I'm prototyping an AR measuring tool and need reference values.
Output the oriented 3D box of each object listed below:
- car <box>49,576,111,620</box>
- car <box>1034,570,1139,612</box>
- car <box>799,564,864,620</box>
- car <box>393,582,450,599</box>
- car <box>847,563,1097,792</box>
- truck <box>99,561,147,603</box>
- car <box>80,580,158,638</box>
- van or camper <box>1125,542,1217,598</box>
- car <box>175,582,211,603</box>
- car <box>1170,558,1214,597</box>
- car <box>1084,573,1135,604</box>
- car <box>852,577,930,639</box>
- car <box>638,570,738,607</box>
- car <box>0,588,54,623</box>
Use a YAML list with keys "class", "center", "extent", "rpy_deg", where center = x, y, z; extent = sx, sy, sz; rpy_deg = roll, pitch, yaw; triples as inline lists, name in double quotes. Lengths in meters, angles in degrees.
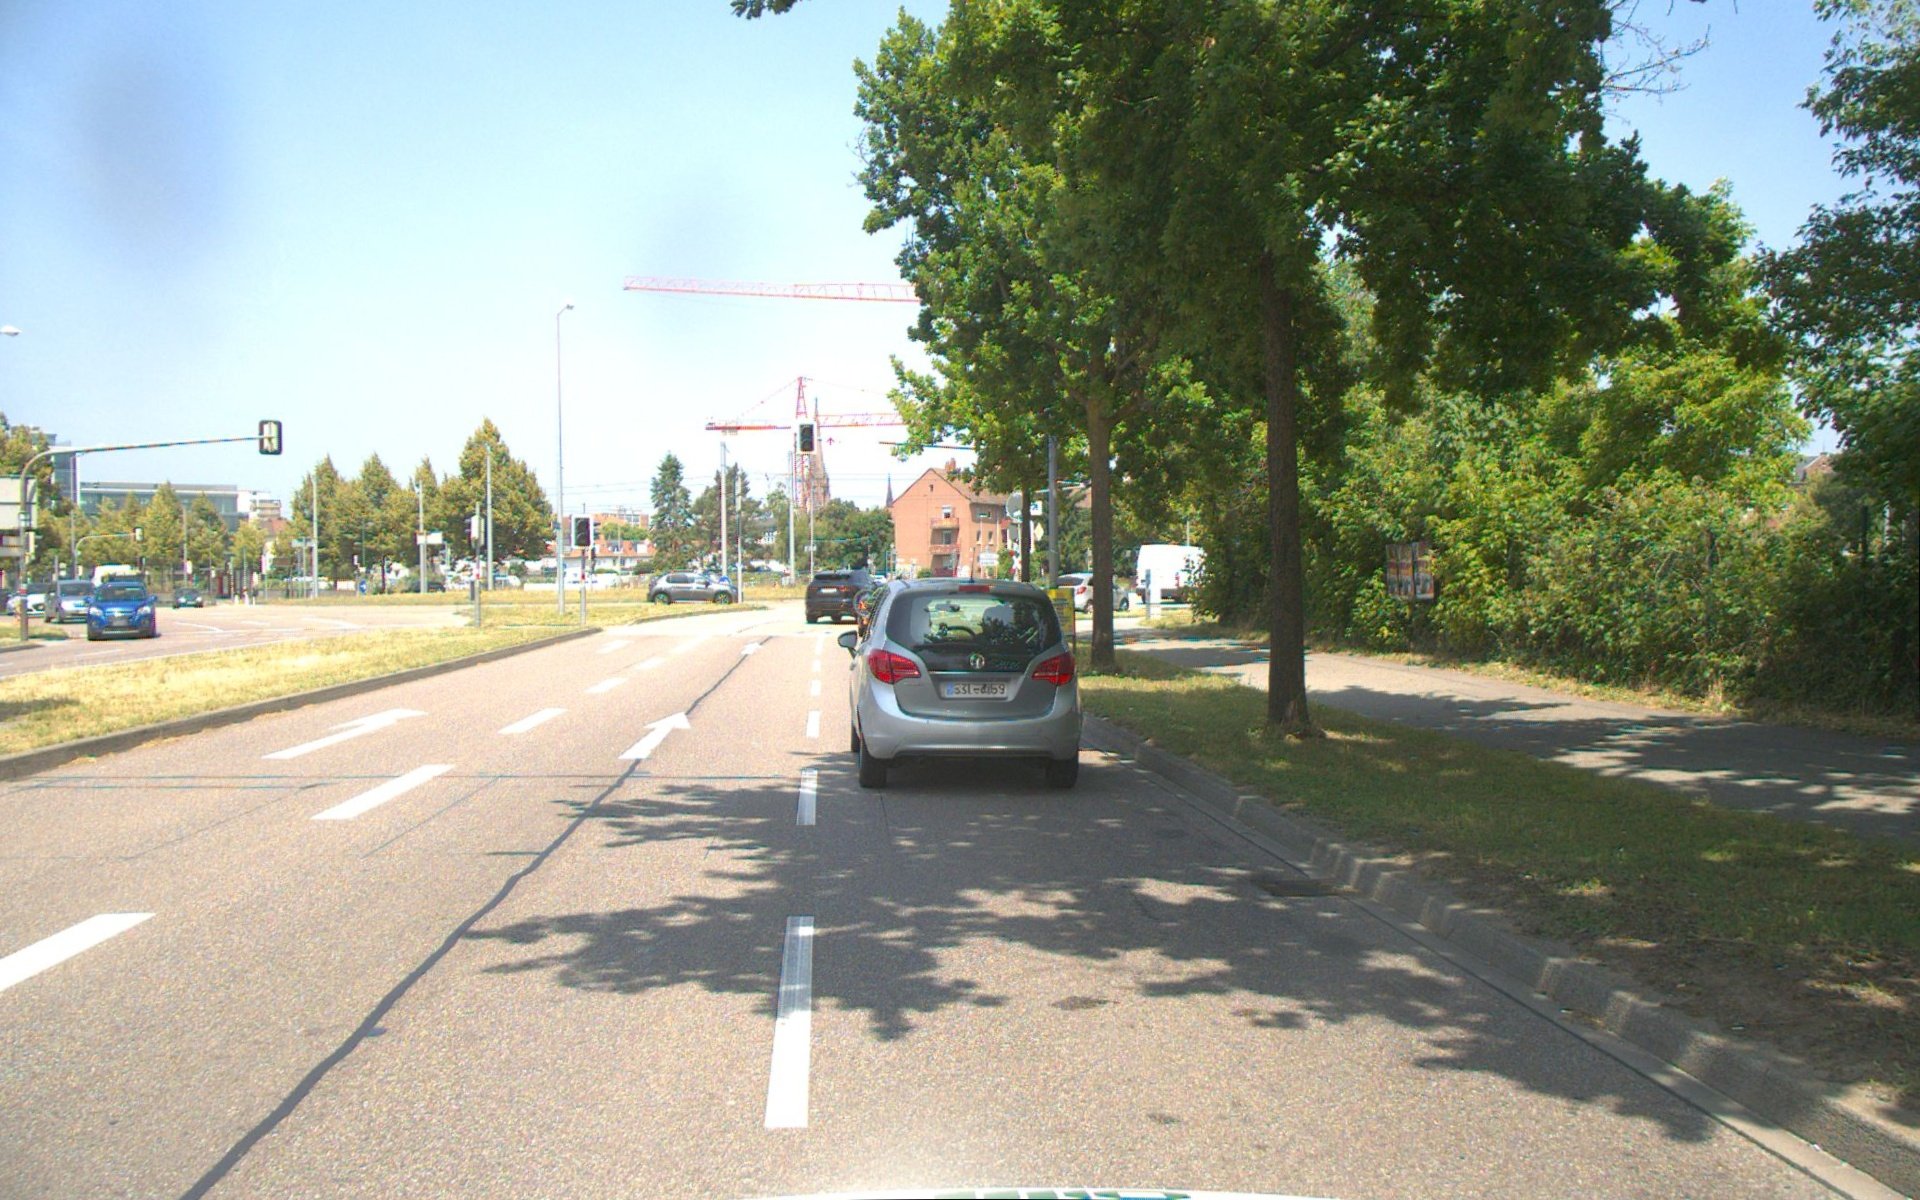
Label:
- class: "car"
  center: [-33.900, -0.086, 63.669]
  extent: [1.972, 1.624, 3.960]
  rpy_deg: [-1, 1, -30]
- class: "car"
  center: [4.666, -0.358, 60.607]
  extent: [1.914, 1.467, 3.980]
  rpy_deg: [0, 1, 39]
- class: "car"
  center: [-4.072, -0.282, 52.986]
  extent: [1.958, 1.719, 4.031]
  rpy_deg: [0, 1, -3]
- class: "car"
  center: [-42.936, -0.777, 131.795]
  extent: [3.904, 1.310, 2.001]
  rpy_deg: [-1, 1, 20]
- class: "car"
  center: [-0.042, 0.530, 13.916]
  extent: [1.757, 1.640, 3.887]
  rpy_deg: [0, 1, -5]
- class: "truck"
  center: [-55.059, -1.186, 108.759]
  extent: [2.331, 2.640, 6.345]
  rpy_deg: [-1, 1, -31]
- class: "car"
  center: [-25.085, 0.246, 49.341]
  extent: [1.970, 1.624, 3.964]
  rpy_deg: [-1, 1, -27]
- class: "van or camper"
  center: [9.364, -1.319, 73.166]
  extent: [2.446, 2.331, 4.914]
  rpy_deg: [0, 1, 28]
- class: "car"
  center: [-49.421, -0.460, 106.495]
  extent: [1.830, 1.299, 3.961]
  rpy_deg: [-1, 1, -29]
- class: "car"
  center: [12.604, -1.238, 89.748]
  extent: [1.951, 2.049, 4.004]
  rpy_deg: [-1, 1, 13]
- class: "car"
  center: [8.332, -0.677, 92.017]
  extent: [1.952, 1.678, 4.002]
  rpy_deg: [-1, 1, 19]
- class: "car"
  center: [-1.861, 0.165, 44.427]
  extent: [1.974, 1.543, 4.458]
  rpy_deg: [-1, 1, -3]
- class: "car"
  center: [-11.303, -0.502, 69.016]
  extent: [3.908, 1.478, 1.999]
  rpy_deg: [-1, 0, -4]
- class: "car"
  center: [-41.000, 0.233, 72.509]
  extent: [1.727, 1.449, 3.791]
  rpy_deg: [-1, 1, -36]
